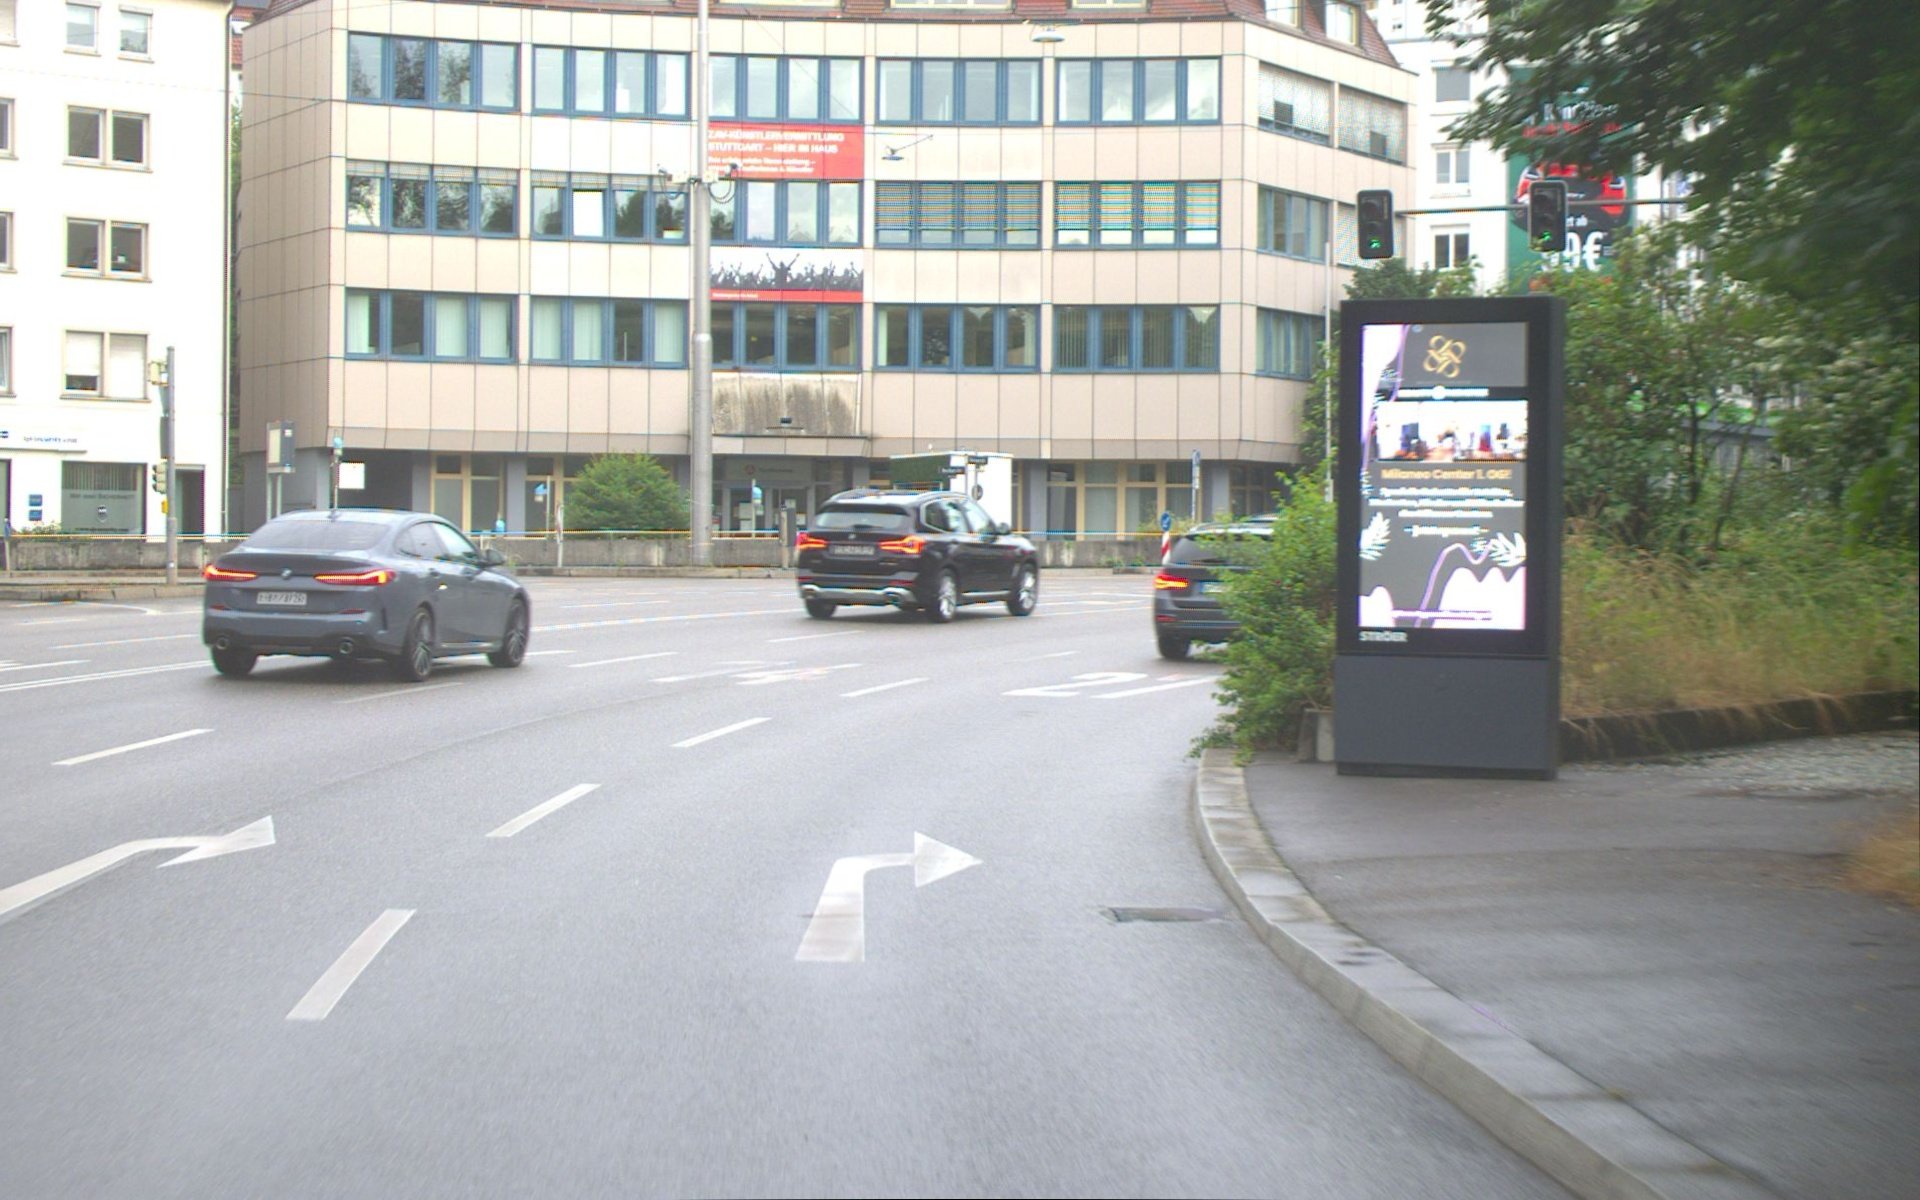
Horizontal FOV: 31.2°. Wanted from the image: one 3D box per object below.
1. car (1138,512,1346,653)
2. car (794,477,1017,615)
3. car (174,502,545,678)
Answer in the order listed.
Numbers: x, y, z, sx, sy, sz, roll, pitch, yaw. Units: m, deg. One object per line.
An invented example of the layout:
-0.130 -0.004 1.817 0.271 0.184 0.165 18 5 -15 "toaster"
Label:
3.073 -0.199 36.813 1.959 1.422 4.124 0 0 8 "car"
-0.649 -0.680 44.108 1.901 1.687 3.997 0 0 14 "car"
-5.145 -0.100 30.071 1.791 1.422 4.382 0 0 10 "car"
